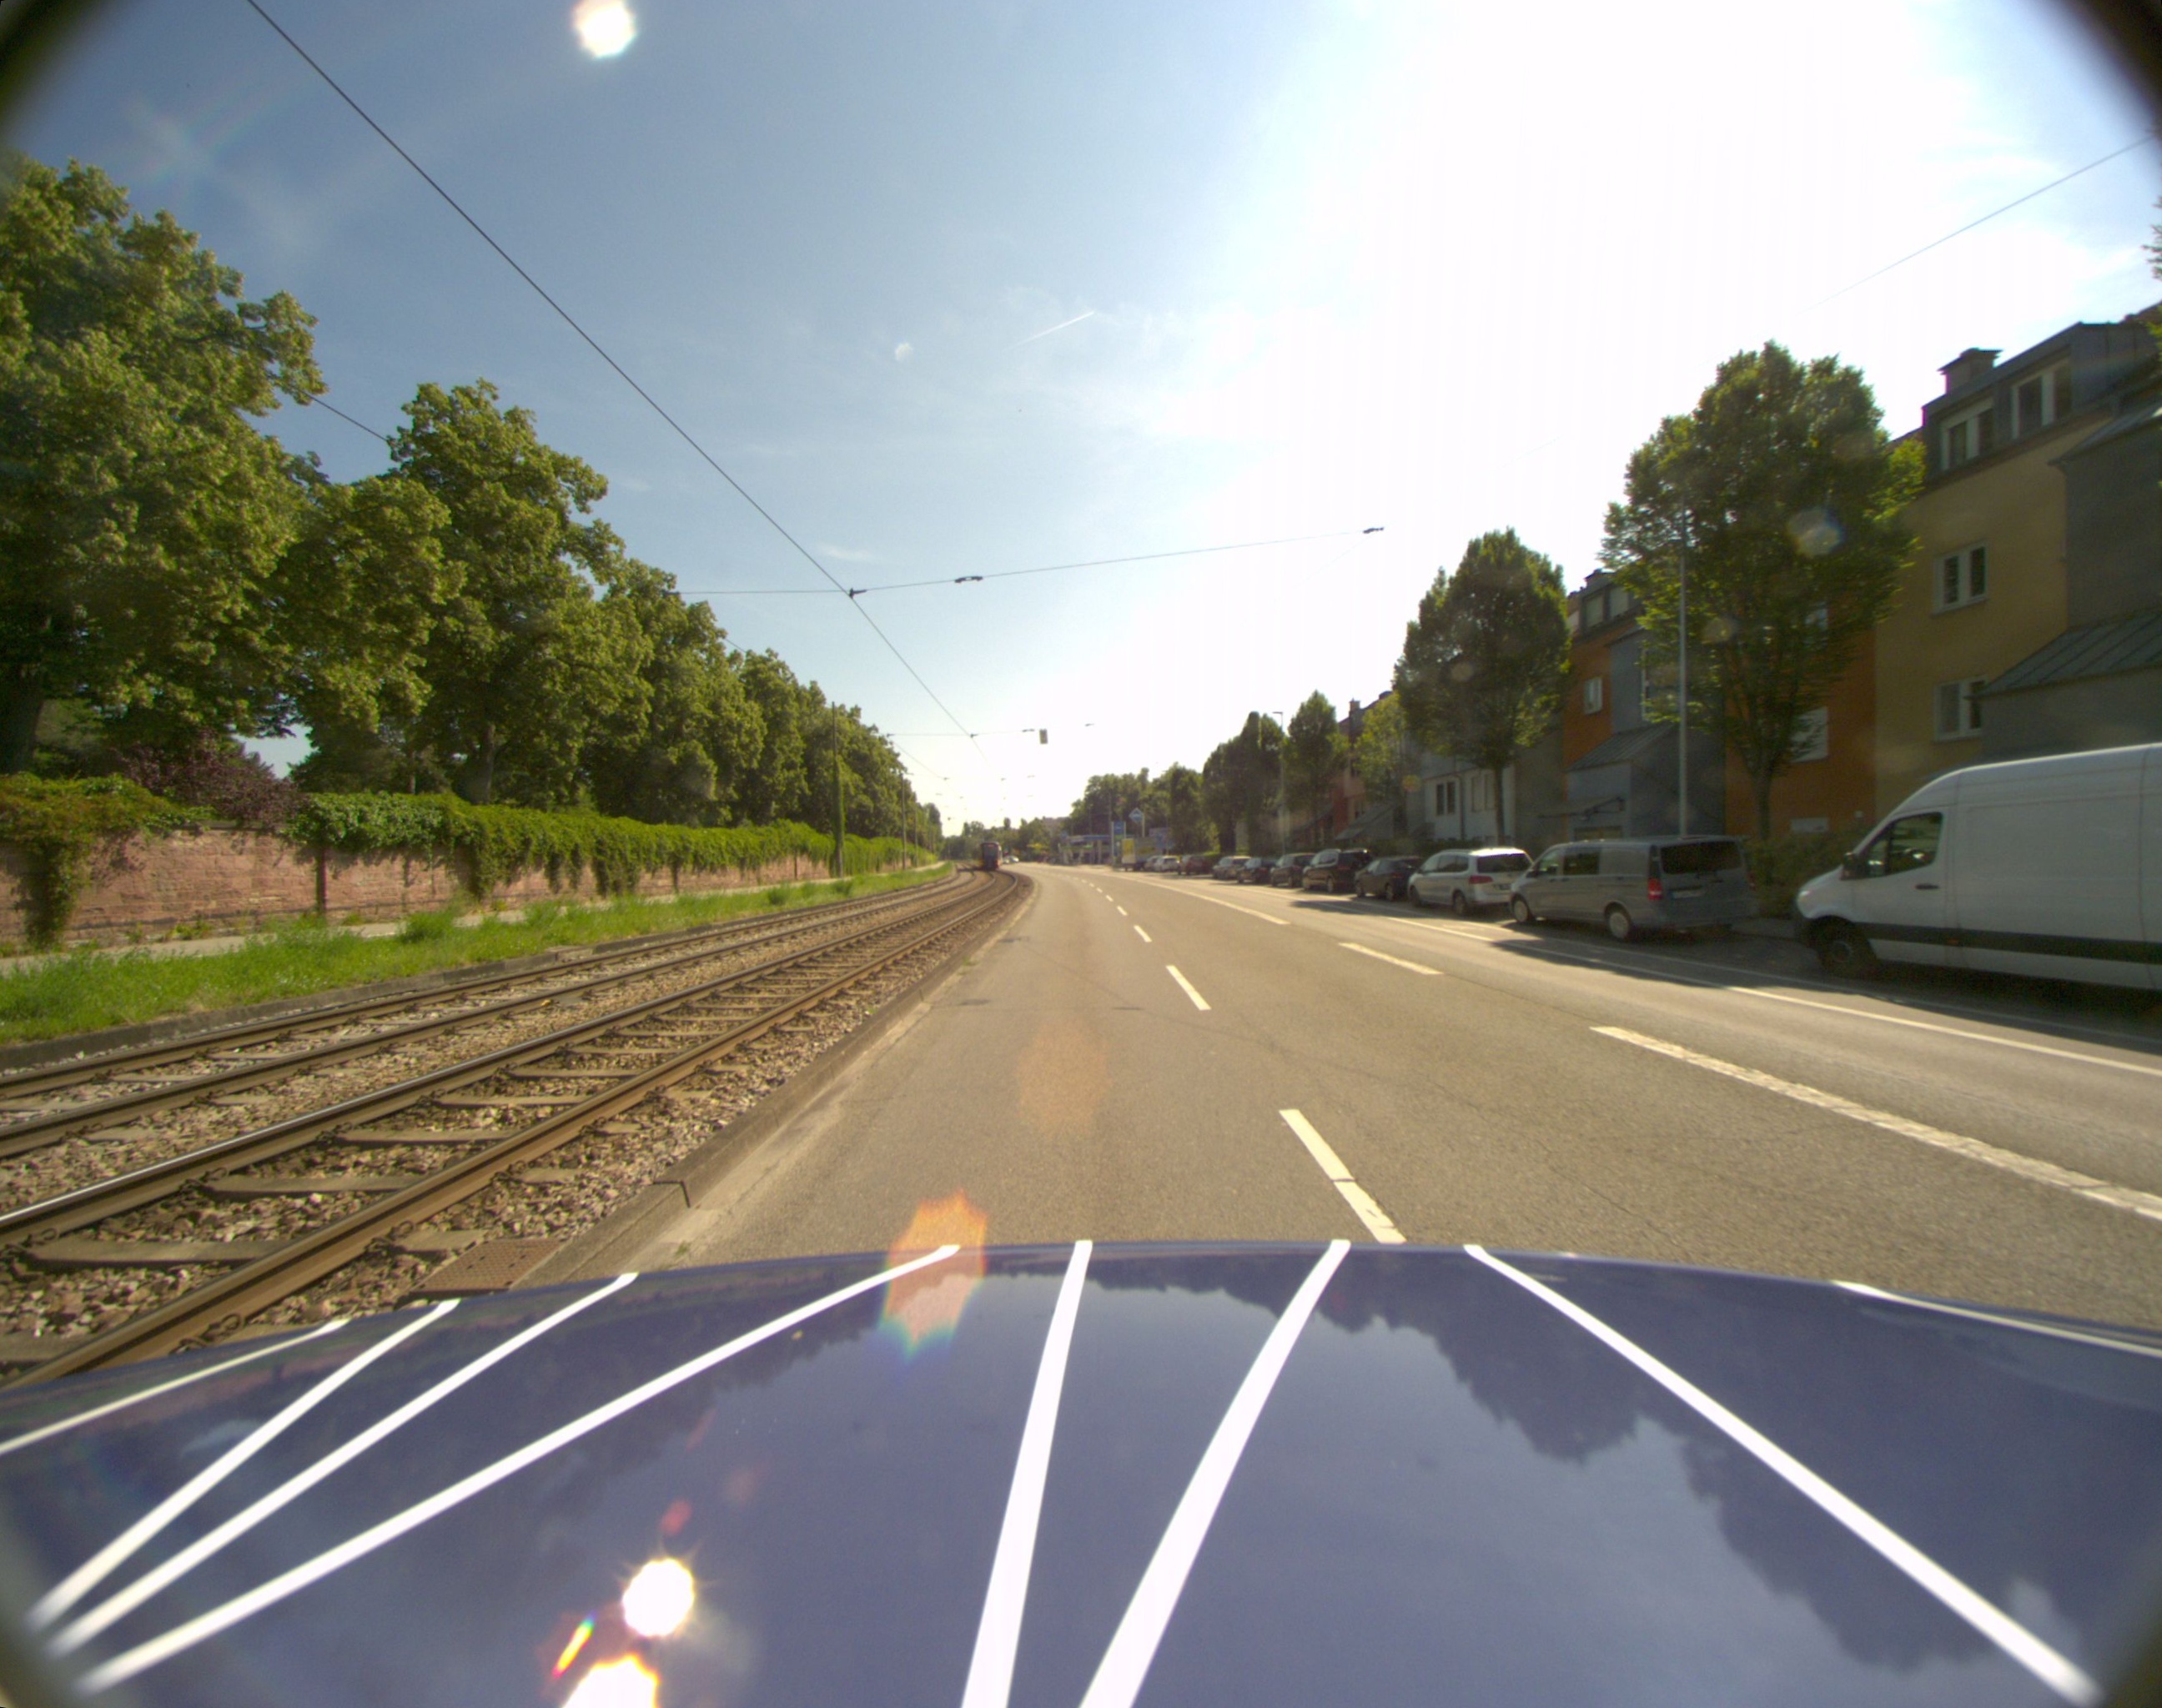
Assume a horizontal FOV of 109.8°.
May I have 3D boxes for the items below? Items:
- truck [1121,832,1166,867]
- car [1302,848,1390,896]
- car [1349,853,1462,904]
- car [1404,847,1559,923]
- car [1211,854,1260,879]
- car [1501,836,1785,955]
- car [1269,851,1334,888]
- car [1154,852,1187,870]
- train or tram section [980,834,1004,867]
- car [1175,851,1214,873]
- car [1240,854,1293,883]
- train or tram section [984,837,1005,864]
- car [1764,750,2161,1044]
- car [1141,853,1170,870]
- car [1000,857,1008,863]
[{"bbox_3d":[6.503,-0.452,80.636,3.165,3.534,8.779,-1,0,-6],"label":"truck"},{"bbox_3d":[10.706,0.652,31.040,1.834,1.718,4.348,-3,1,-3],"label":"car"},{"bbox_3d":[10.948,0.777,25.955,1.871,1.447,4.074,-4,1,-3],"label":"car"},{"bbox_3d":[10.760,0.739,20.867,1.853,1.693,4.540,-4,1,1],"label":"car"},{"bbox_3d":[9.908,0.747,49.113,1.682,1.437,4.835,-2,1,-6],"label":"car"},{"bbox_3d":[10.920,0.700,15.398,1.998,1.855,4.966,-5,0,1],"label":"car"},{"bbox_3d":[10.554,0.697,36.644,1.681,1.598,4.164,-2,1,-3],"label":"car"},{"bbox_3d":[8.002,0.611,68.135,2.040,1.490,4.130,-2,1,-6],"label":"car"},{"bbox_3d":[-11.269,-0.477,97.453,2.722,3.716,18.867,-2,0,-6],"label":"train or tram section"},{"bbox_3d":[8.953,0.627,60.343,1.911,1.567,4.929,-2,1,-6],"label":"car"},{"bbox_3d":[10.273,0.765,42.351,1.681,1.462,4.212,-2,1,-3],"label":"car"},{"bbox_3d":[-13.123,-0.547,116.211,2.722,3.716,18.867,-2,0,-6],"label":"train or tram section"},{"bbox_3d":[10.711,0.325,7.259,1.998,2.661,7.086,-4,0,1],"label":"car"},{"bbox_3d":[7.122,0.692,73.103,1.915,1.469,4.213,-2,1,-6],"label":"car"},{"bbox_3d":[-17.925,1.398,176.283,1.748,1.421,5.039,-2,0,-5],"label":"car"}]
